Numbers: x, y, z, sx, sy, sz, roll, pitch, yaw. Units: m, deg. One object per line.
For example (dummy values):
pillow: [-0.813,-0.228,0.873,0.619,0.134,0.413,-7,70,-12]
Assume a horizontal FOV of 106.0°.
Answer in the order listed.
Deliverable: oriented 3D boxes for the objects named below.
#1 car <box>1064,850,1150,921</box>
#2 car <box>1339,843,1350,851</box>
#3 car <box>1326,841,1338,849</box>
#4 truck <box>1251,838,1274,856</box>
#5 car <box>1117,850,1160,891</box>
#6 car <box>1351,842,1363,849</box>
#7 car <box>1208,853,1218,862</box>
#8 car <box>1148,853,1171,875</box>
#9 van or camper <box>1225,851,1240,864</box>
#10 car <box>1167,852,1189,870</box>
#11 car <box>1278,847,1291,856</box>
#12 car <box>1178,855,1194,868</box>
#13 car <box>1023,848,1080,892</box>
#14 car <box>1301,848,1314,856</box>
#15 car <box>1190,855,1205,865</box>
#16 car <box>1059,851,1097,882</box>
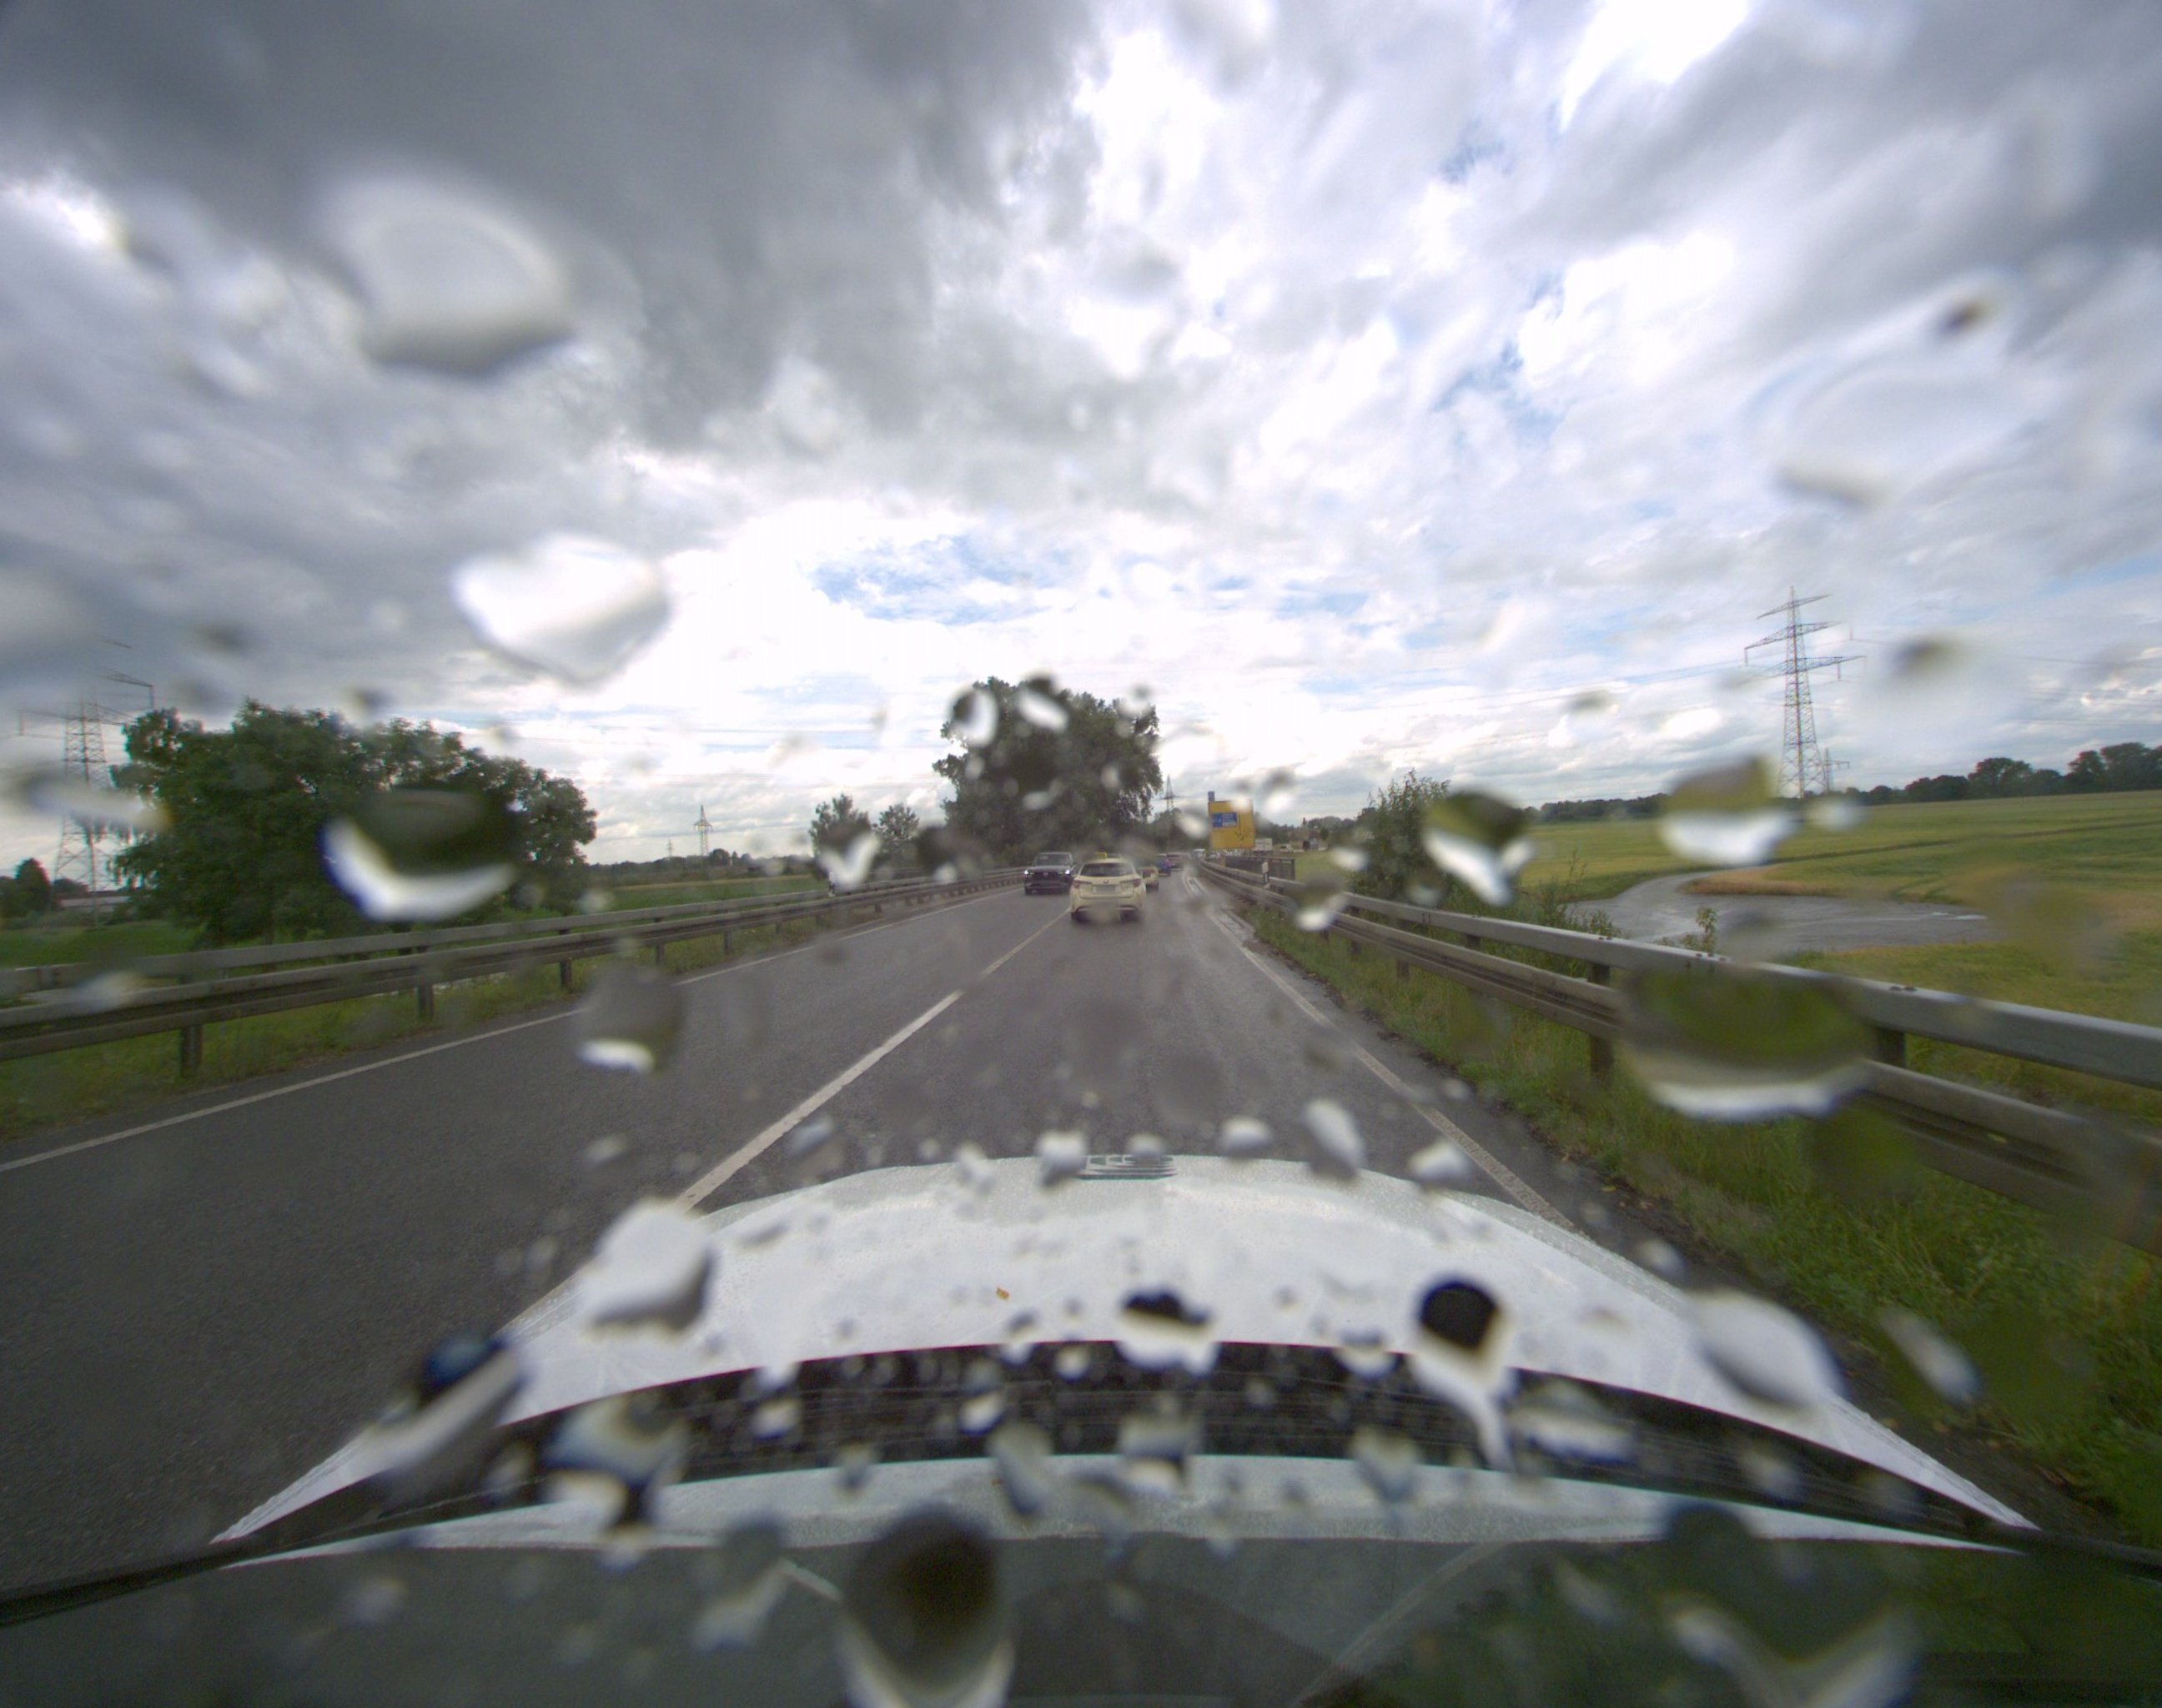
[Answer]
car: [0.741,0.719,20.164,1.897,1.537,4.166,-1,0,4]
car: [73.223,-1.894,226.379,1.974,2.014,4.025,-1,-1,31]
car: [67.260,-2.363,218.011,2.204,2.014,4.025,-1,-1,31]
truck: [37.624,-1.497,168.905,3.112,3.562,7.563,-1,-1,24]
car: [2.423,0.656,33.400,1.570,1.572,3.688,-1,0,6]
car: [79.096,-2.400,233.368,1.974,2.014,4.025,-2,-1,40]
car: [20.375,0.486,125.751,1.473,1.309,3.487,-1,0,11]
car: [5.264,0.663,54.533,1.498,1.437,3.361,-1,0,5]
van or camper: [26.573,0.624,142.391,1.977,2.254,4.019,-1,-1,18]
car: [8.303,0.602,69.759,1.655,1.464,3.486,-1,0,9]
car: [47.086,-0.595,188.294,2.146,2.014,4.023,-1,-1,26]
car: [12.235,0.919,94.539,1.650,1.409,3.915,-1,-1,10]
car: [-1.145,0.602,33.886,1.737,1.653,4.531,-1,0,5]
car: [56.621,-0.513,203.394,1.974,2.014,4.025,-1,-1,32]
car: [15.530,0.812,108.671,1.471,1.309,3.491,-1,0,16]
car: [-0.134,0.687,48.270,1.833,1.700,4.395,-1,1,5]
